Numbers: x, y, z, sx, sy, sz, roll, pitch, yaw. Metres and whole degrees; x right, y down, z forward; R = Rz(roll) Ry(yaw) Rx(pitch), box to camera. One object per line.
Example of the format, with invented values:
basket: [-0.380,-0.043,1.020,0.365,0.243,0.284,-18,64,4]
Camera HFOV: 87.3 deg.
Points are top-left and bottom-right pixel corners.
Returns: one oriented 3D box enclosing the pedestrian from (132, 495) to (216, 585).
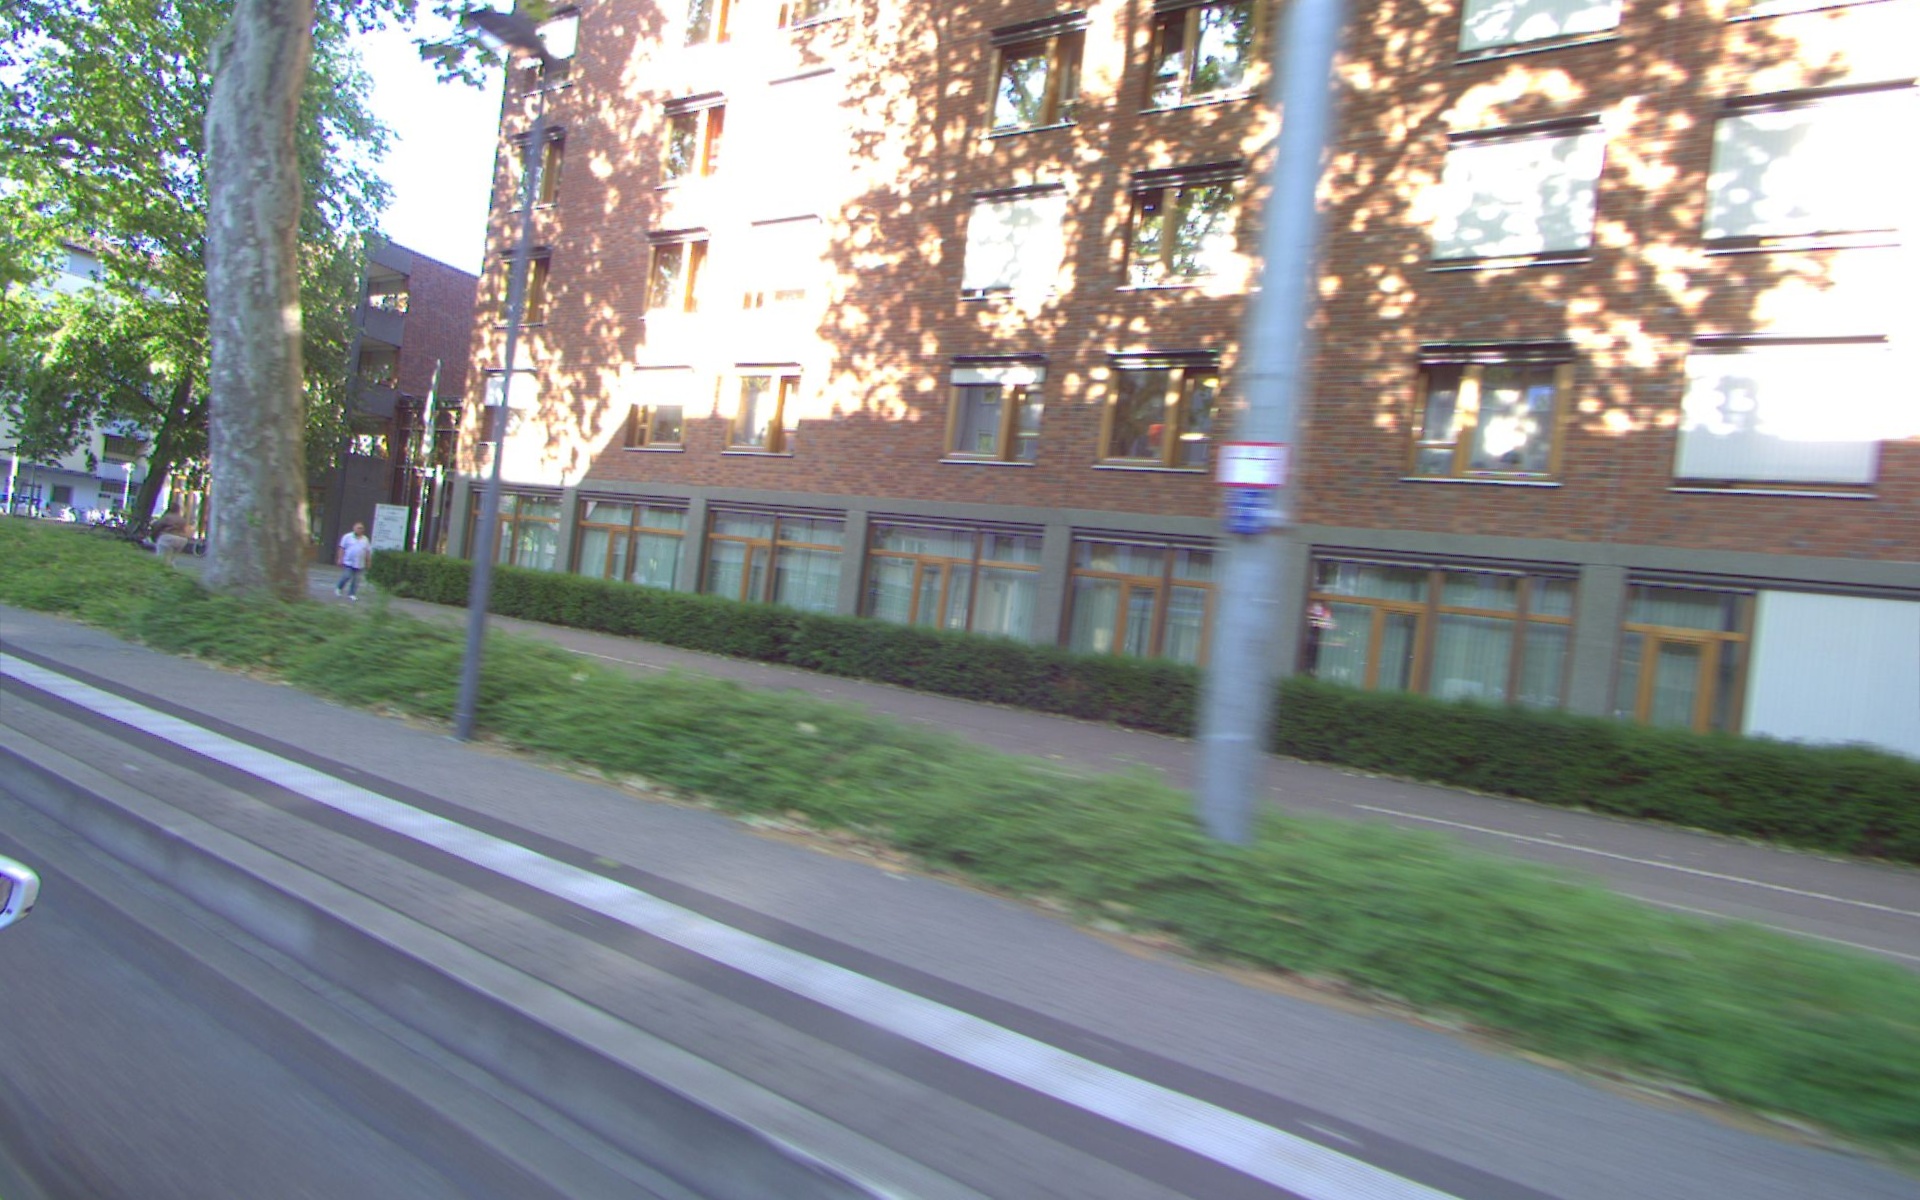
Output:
pedestrian: [-15.920,-1.216,20.389,0.873,1.643,0.973,7,0,31]

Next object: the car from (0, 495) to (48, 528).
car: [-48.538,-4.636,50.291,1.837,1.389,3.991,7,-1,33]

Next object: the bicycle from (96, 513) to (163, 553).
bicycle: [-26.851,-2.152,32.562,1.558,1.050,0.499,8,0,-38]

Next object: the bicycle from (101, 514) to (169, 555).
bicycle: [-26.175,-2.079,31.947,1.558,1.050,0.474,8,0,-38]

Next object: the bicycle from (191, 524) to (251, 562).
bicycle: [-25.000,-1.920,34.052,1.558,1.050,0.474,8,0,-38]

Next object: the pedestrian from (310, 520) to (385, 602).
pedestrian: [-13.536,-0.855,22.245,0.873,1.643,0.973,7,0,31]

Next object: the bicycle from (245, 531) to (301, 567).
bicycle: [-24.191,-1.781,35.437,1.557,1.050,0.474,8,0,-36]
